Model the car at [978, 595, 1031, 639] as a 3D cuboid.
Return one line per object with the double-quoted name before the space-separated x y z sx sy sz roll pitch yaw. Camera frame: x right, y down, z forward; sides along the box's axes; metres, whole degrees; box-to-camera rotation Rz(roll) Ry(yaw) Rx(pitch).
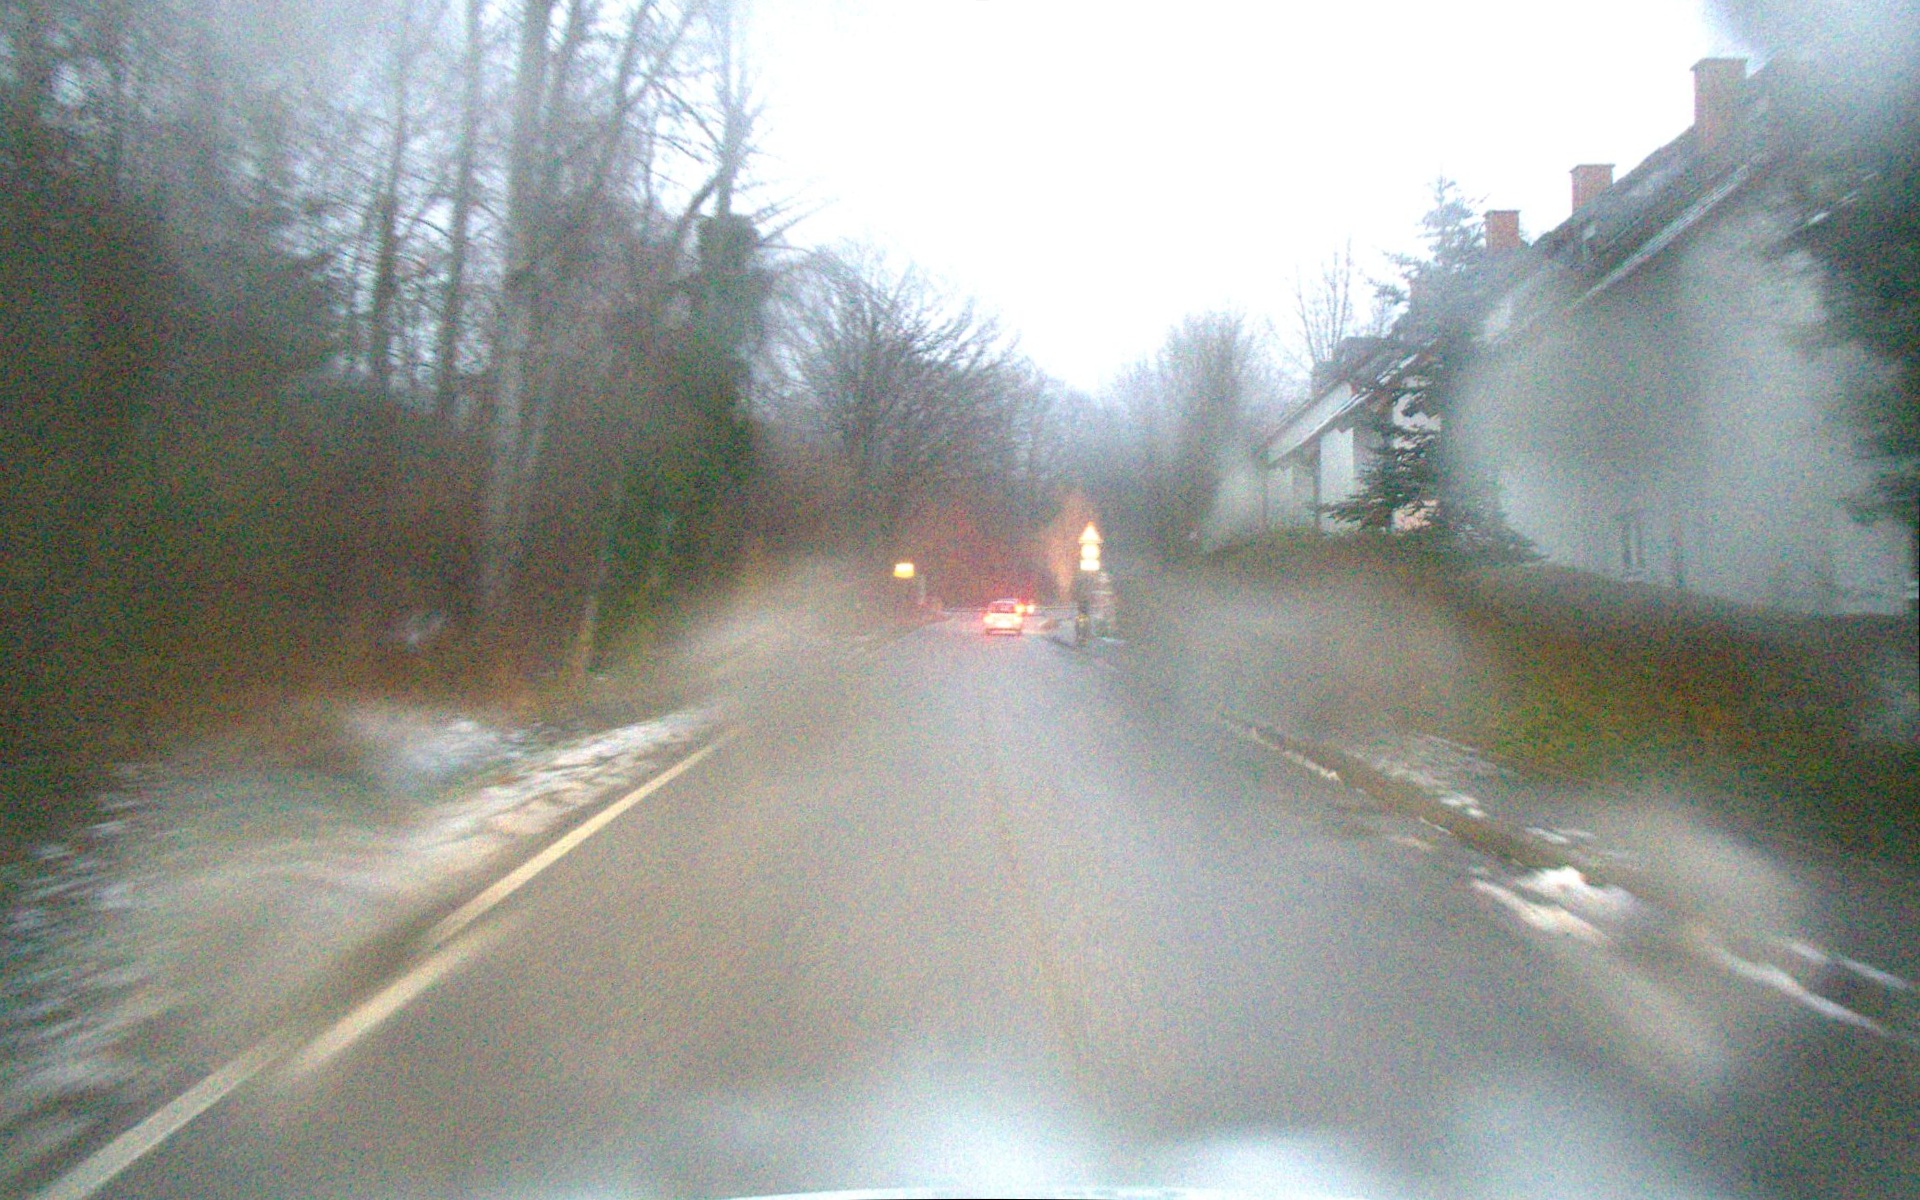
"car" 1.956 0.705 71.177 1.892 1.812 4.003 0 0 7
